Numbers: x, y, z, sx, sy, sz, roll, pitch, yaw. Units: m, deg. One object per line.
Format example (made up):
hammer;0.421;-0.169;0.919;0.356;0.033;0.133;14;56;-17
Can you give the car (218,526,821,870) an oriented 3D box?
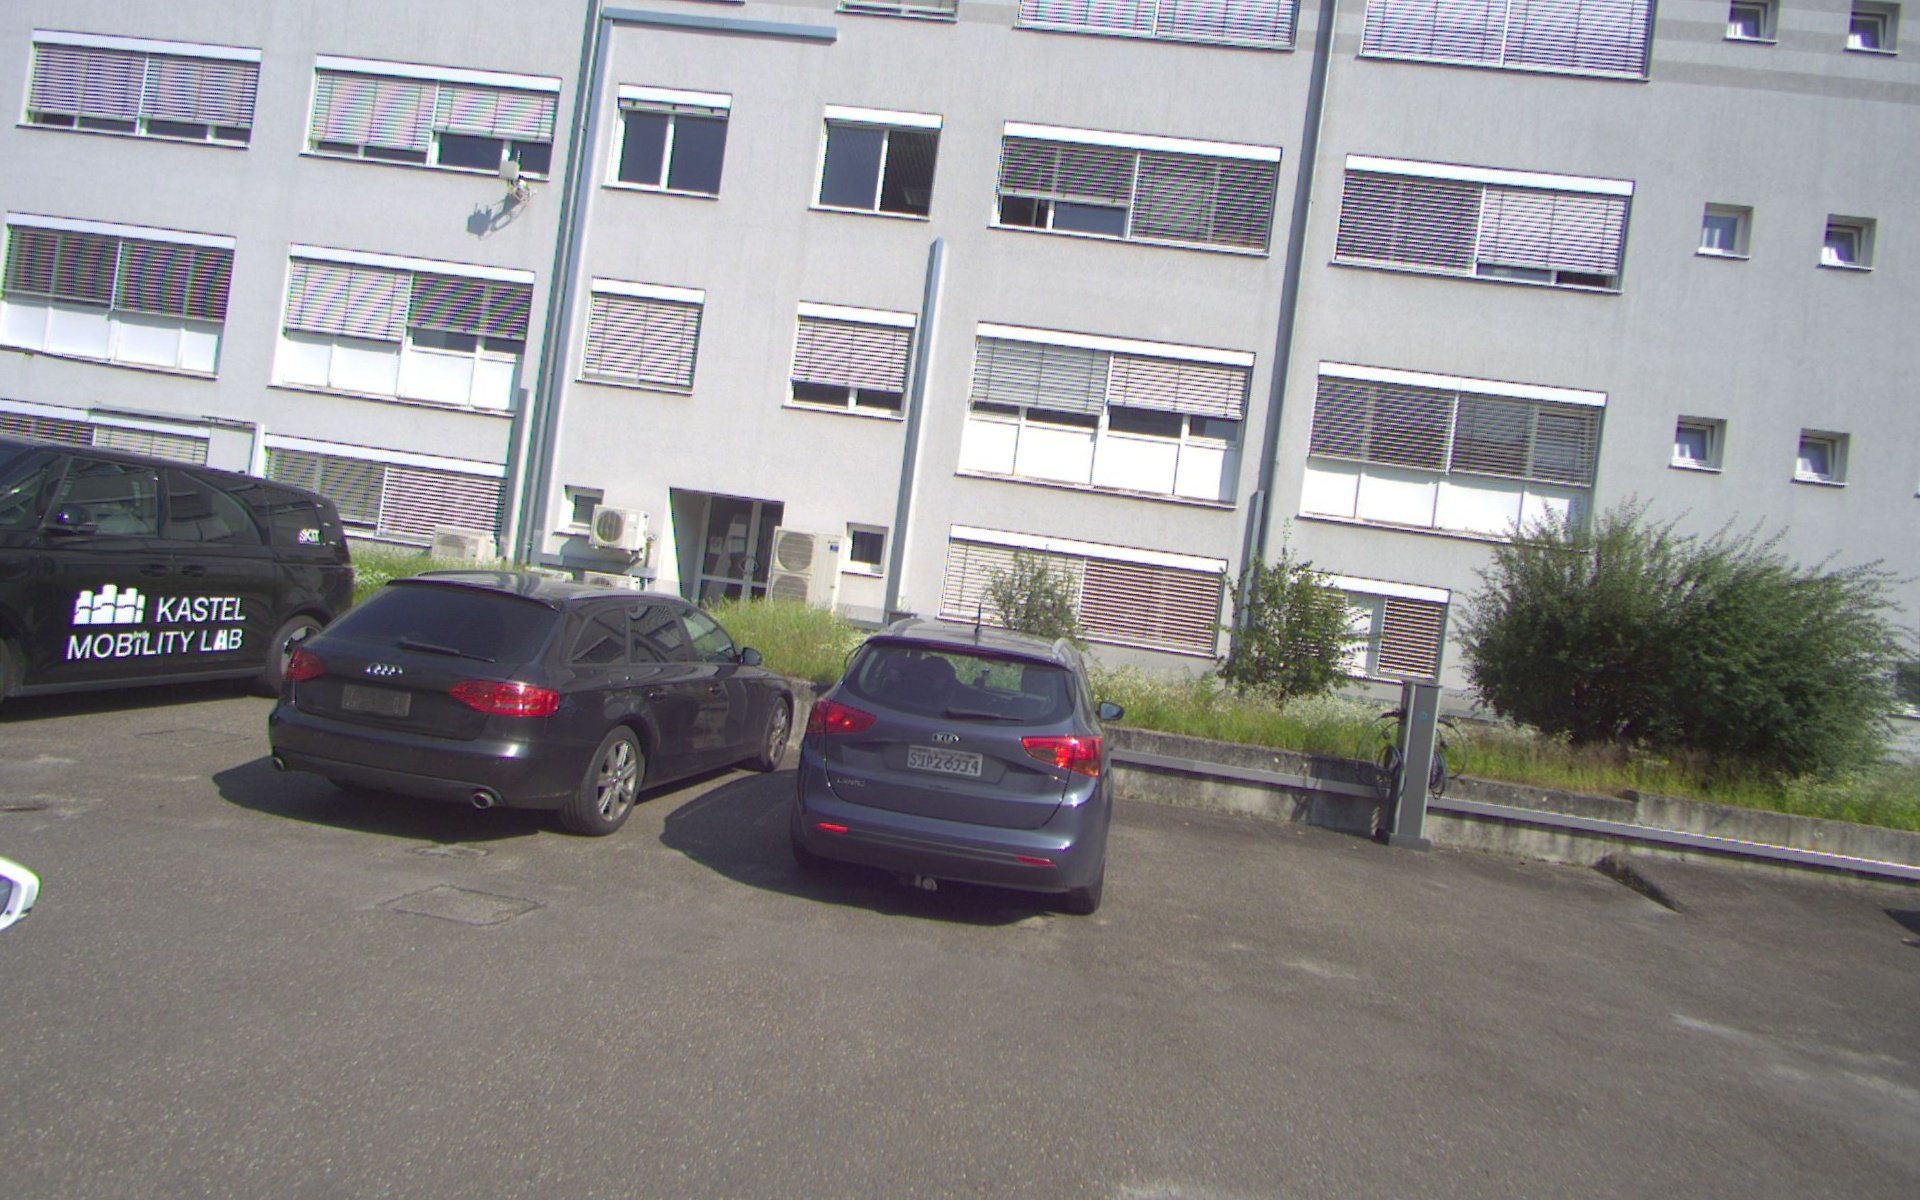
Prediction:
car;-2.508;0.552;7.059;1.658;1.454;4.250;8;-1;10

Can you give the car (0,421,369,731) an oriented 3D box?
car;-6.691;-0.230;7.324;1.879;1.881;4.351;8;-1;2

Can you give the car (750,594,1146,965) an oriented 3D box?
car;0.160;0.906;6.789;1.709;1.495;4.063;8;-1;7

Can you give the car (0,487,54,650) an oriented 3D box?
car;-9.497;-0.413;7.624;1.633;1.483;3.909;8;-1;-2
